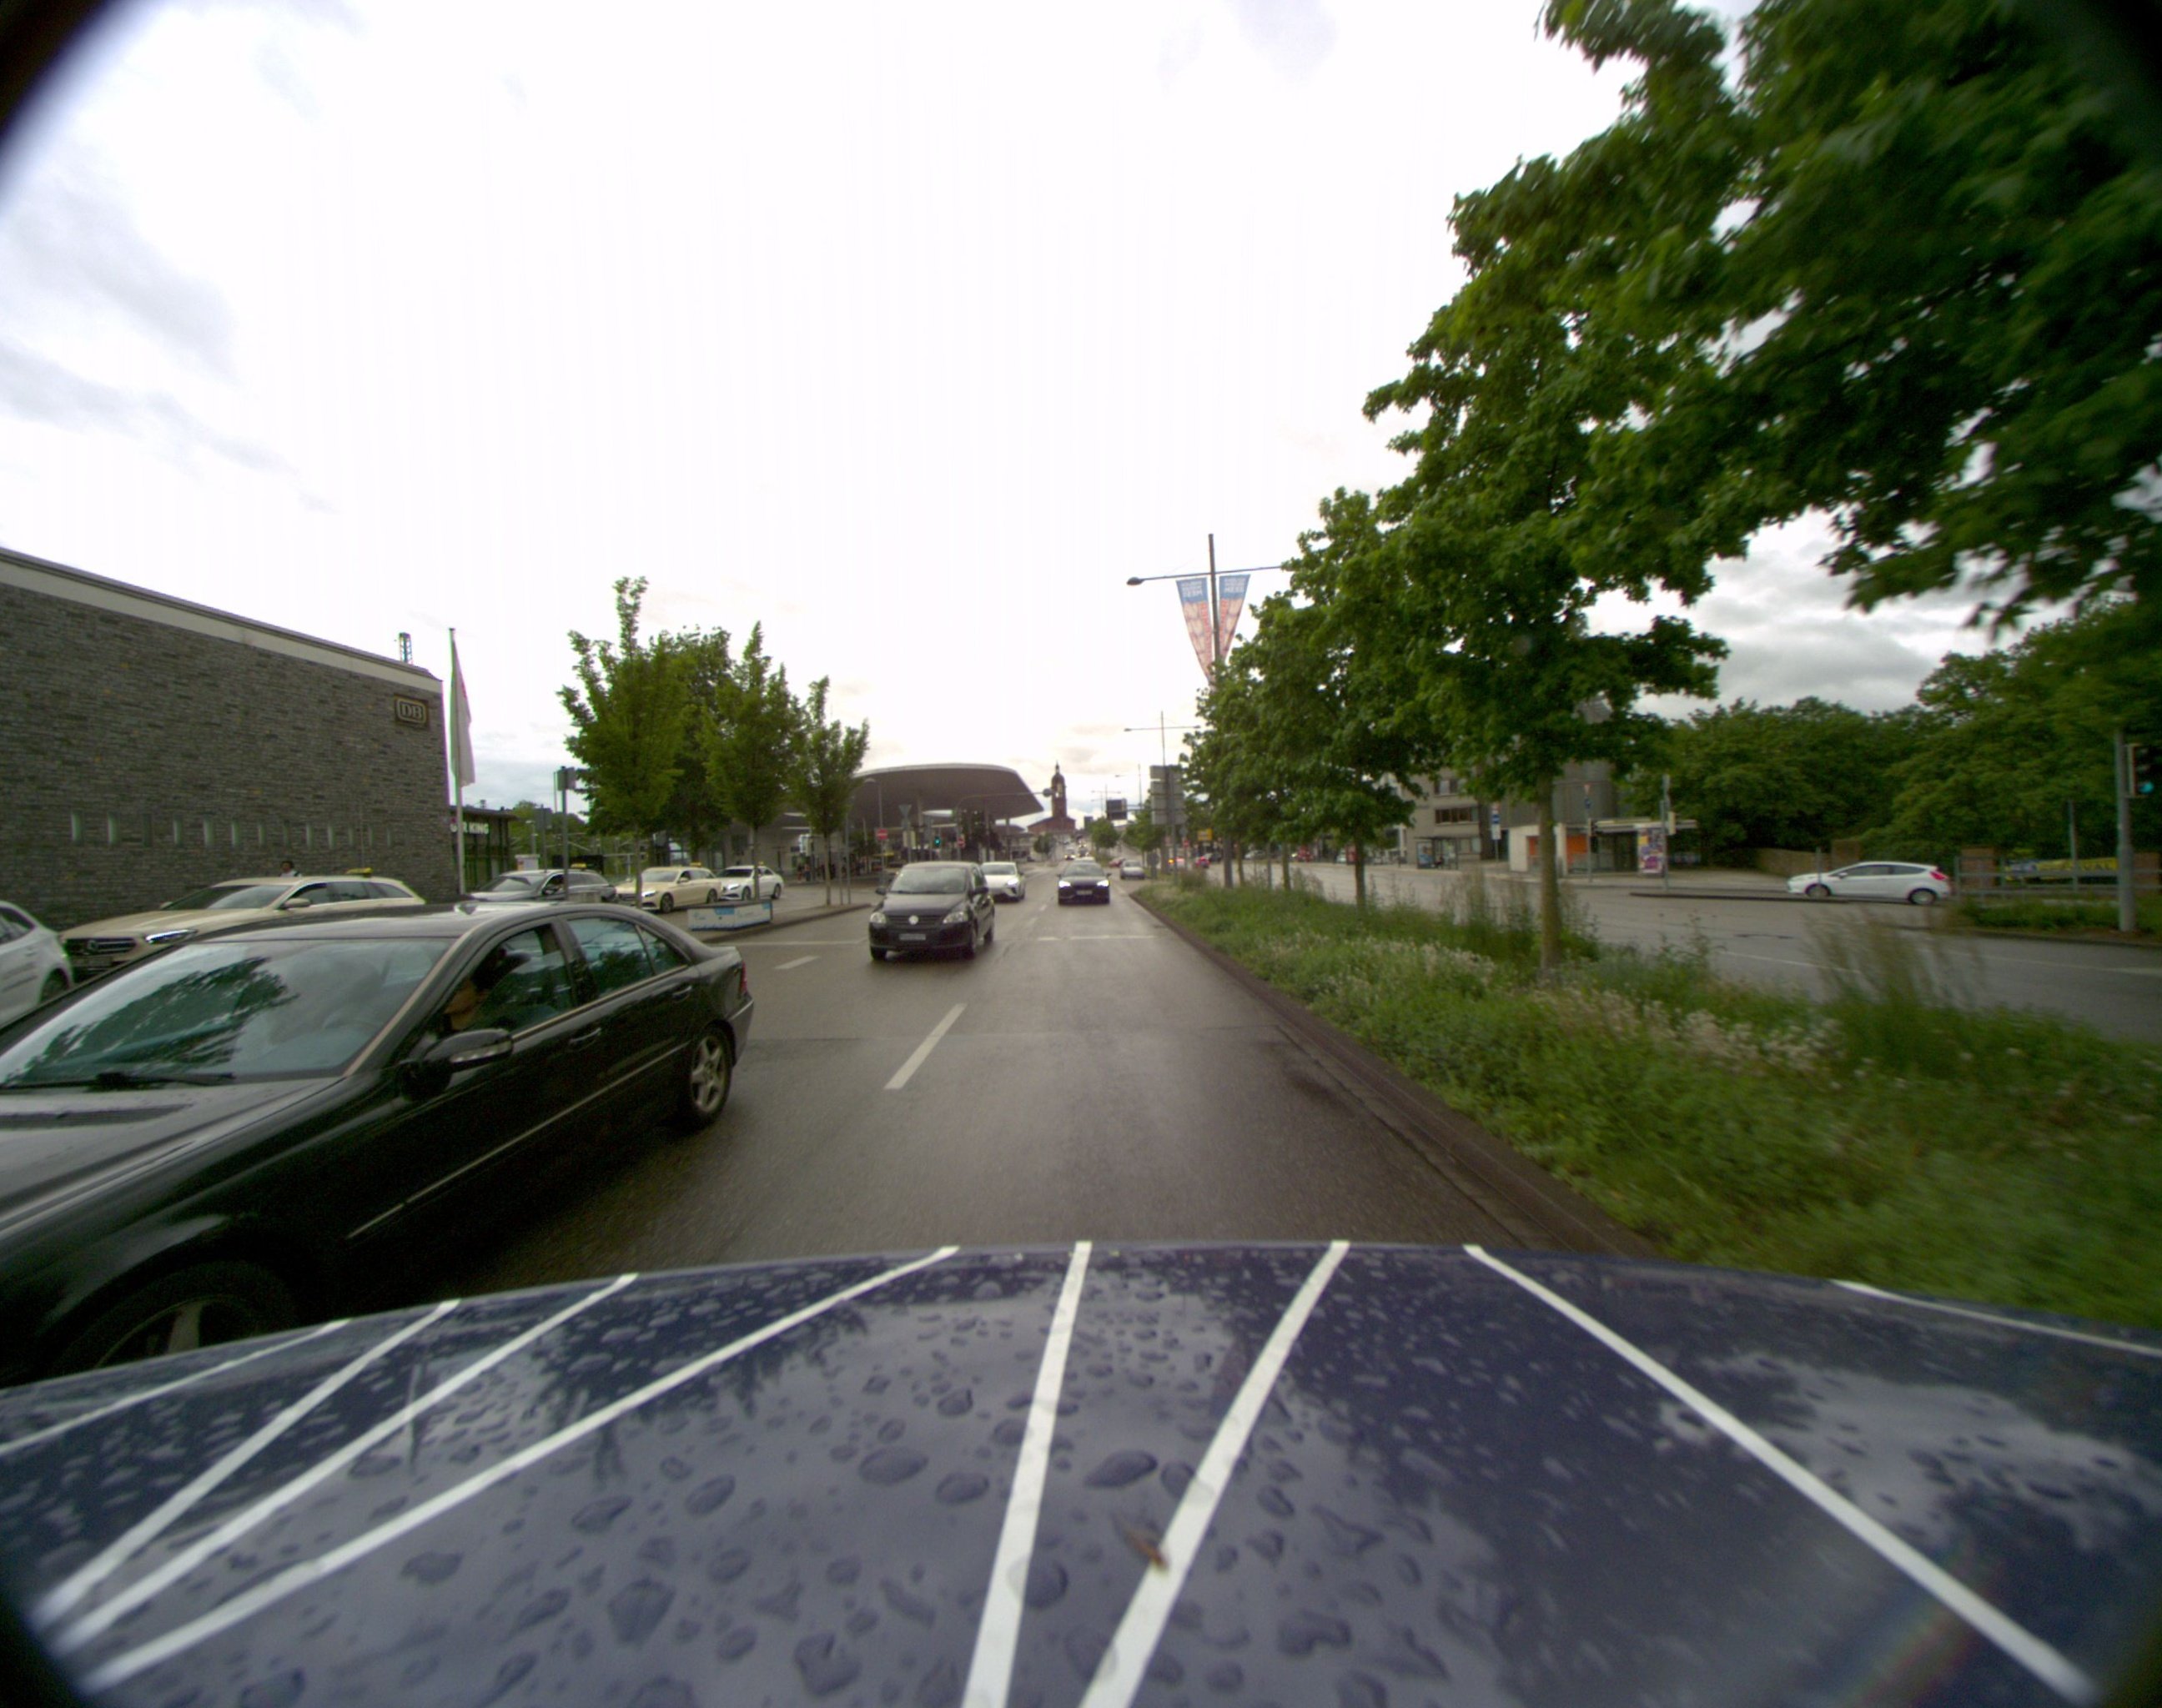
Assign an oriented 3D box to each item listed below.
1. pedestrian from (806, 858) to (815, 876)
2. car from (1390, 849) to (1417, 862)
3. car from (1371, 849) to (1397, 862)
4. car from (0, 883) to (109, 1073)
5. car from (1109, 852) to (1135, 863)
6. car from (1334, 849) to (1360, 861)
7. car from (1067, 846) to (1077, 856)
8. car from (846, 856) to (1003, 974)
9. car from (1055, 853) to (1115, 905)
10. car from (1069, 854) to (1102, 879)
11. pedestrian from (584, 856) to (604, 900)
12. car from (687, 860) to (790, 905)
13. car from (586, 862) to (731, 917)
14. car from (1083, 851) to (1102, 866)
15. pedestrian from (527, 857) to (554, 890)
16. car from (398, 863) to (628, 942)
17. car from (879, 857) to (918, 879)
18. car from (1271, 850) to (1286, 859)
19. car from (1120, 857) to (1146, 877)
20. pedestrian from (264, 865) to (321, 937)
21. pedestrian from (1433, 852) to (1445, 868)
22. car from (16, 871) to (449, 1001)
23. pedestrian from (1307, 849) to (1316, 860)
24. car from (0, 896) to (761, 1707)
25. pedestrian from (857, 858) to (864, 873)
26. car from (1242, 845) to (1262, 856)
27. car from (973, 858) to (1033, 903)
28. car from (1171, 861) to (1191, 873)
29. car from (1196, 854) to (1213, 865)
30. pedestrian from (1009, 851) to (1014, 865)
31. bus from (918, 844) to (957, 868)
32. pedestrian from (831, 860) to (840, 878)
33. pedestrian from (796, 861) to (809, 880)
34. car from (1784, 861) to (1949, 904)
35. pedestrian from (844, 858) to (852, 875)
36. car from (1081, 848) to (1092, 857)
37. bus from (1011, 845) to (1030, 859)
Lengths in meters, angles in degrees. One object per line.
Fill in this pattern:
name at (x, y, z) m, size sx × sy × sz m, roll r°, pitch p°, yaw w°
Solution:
pedestrian at (-23.454, 1.129, 65.934) m, size 0.533 × 1.505 × 0.480 m, roll 0°, pitch 1°, yaw 35°
car at (44.453, 0.208, 104.737) m, size 4.166 × 1.692 × 1.871 m, roll -1°, pitch 1°, yaw -44°
car at (42.461, 0.182, 106.329) m, size 4.166 × 1.692 × 1.871 m, roll -1°, pitch 0°, yaw -44°
car at (-9.944, 1.111, 5.952) m, size 1.767 × 1.537 × 4.763 m, roll -2°, pitch 1°, yaw -39°
car at (6.199, 0.566, 114.743) m, size 1.871 × 1.624 × 4.166 m, roll 0°, pitch 0°, yaw 41°
car at (38.625, 0.163, 110.351) m, size 4.166 × 1.692 × 1.871 m, roll -1°, pitch 1°, yaw -44°
car at (-1.750, -0.554, 154.403) m, size 1.998 × 2.002 × 3.999 m, roll 0°, pitch 1°, yaw 0°
car at (-2.502, 0.900, 13.206) m, size 1.875 × 1.692 × 4.157 m, roll 0°, pitch 0°, yaw 0°
car at (0.061, 0.885, 27.005) m, size 1.876 × 1.691 × 4.157 m, roll 0°, pitch -2°, yaw -4°
car at (0.265, 0.855, 53.187) m, size 1.876 × 1.624 × 4.298 m, roll 0°, pitch 1°, yaw -6°
pedestrian at (-24.541, 1.190, 38.269) m, size 0.799 × 2.152 × 0.721 m, roll -1°, pitch 1°, yaw -30°
car at (-13.841, 1.094, 31.052) m, size 1.884 × 1.590 × 4.902 m, roll 0°, pitch 1°, yaw 1°
car at (-13.861, 1.092, 25.346) m, size 1.998 × 1.590 × 4.958 m, roll 0°, pitch 0°, yaw 1°
car at (1.255, 0.506, 84.763) m, size 1.876 × 1.624 × 4.156 m, roll 0°, pitch 1°, yaw -3°
pedestrian at (-25.855, 0.929, 36.381) m, size 0.771 × 1.571 × 0.710 m, roll 0°, pitch 1°, yaw -4°
car at (-13.810, 1.090, 18.979) m, size 1.999 × 1.590 × 4.958 m, roll -2°, pitch 0°, yaw 0°
car at (-15.029, 1.121, 62.774) m, size 1.998 × 1.671 × 4.541 m, roll 0°, pitch 1°, yaw 1°
car at (33.184, 0.089, 127.800) m, size 1.680 × 1.503 × 3.864 m, roll 0°, pitch 1°, yaw 4°
car at (3.982, 0.953, 58.206) m, size 1.699 × 1.457 × 3.719 m, roll 0°, pitch 1°, yaw -1°
pedestrian at (-18.960, 1.107, 18.282) m, size 0.647 × 1.657 × 0.776 m, roll -1°, pitch 1°, yaw -21°
pedestrian at (28.833, 0.462, 61.227) m, size 0.668 × 1.292 × 0.720 m, roll 0°, pitch 1°, yaw 6°
car at (-13.339, 1.143, 12.611) m, size 2.000 × 1.590 × 4.955 m, roll 0°, pitch 0°, yaw -7°
pedestrian at (30.327, 0.024, 100.023) m, size 0.983 × 1.481 × 0.735 m, roll 0°, pitch 1°, yaw 11°
car at (-3.026, 1.042, 3.032) m, size 1.699 × 1.457 × 4.450 m, roll 0°, pitch 1°, yaw -1°
pedestrian at (-21.386, 1.114, 73.619) m, size 0.478 × 1.505 × 0.535 m, roll -1°, pitch 1°, yaw 4°
car at (31.494, -0.641, 139.922) m, size 1.994 × 1.871 × 4.008 m, roll 1°, pitch 1°, yaw 39°
car at (-2.921, 0.957, 29.239) m, size 1.811 × 1.550 × 4.049 m, roll 0°, pitch 1°, yaw 1°
car at (12.074, 1.545, 91.939) m, size 2.010 × 1.345 × 4.164 m, roll 0°, pitch 1°, yaw 1°
car at (16.185, 0.688, 99.729) m, size 1.698 × 1.457 × 4.453 m, roll 0°, pitch 1°, yaw 4°
pedestrian at (-8.733, 0.526, 95.290) m, size 0.446 × 1.753 × 0.536 m, roll -1°, pitch 1°, yaw -23°
bus at (-19.030, 0.247, 101.629) m, size 2.876 × 3.064 × 11.922 m, roll 0°, pitch 0°, yaw 1°
pedestrian at (-20.839, 1.265, 64.498) m, size 0.534 × 1.505 × 0.479 m, roll -1°, pitch 1°, yaw 5°
pedestrian at (-23.323, 1.367, 63.659) m, size 0.641 × 1.586 × 0.741 m, roll 0°, pitch 1°, yaw 15°
car at (27.835, 0.975, 27.095) m, size 1.638 × 1.390 × 3.989 m, roll -1°, pitch 0°, yaw -45°
pedestrian at (-21.394, 1.150, 69.675) m, size 0.478 × 1.505 × 0.535 m, roll -1°, pitch 1°, yaw 4°
car at (1.070, -0.302, 160.230) m, size 1.999 × 2.002 × 3.998 m, roll 0°, pitch 1°, yaw -5°
bus at (-13.882, -0.519, 172.878) m, size 3.585 × 3.080 × 10.746 m, roll -1°, pitch 0°, yaw -8°
